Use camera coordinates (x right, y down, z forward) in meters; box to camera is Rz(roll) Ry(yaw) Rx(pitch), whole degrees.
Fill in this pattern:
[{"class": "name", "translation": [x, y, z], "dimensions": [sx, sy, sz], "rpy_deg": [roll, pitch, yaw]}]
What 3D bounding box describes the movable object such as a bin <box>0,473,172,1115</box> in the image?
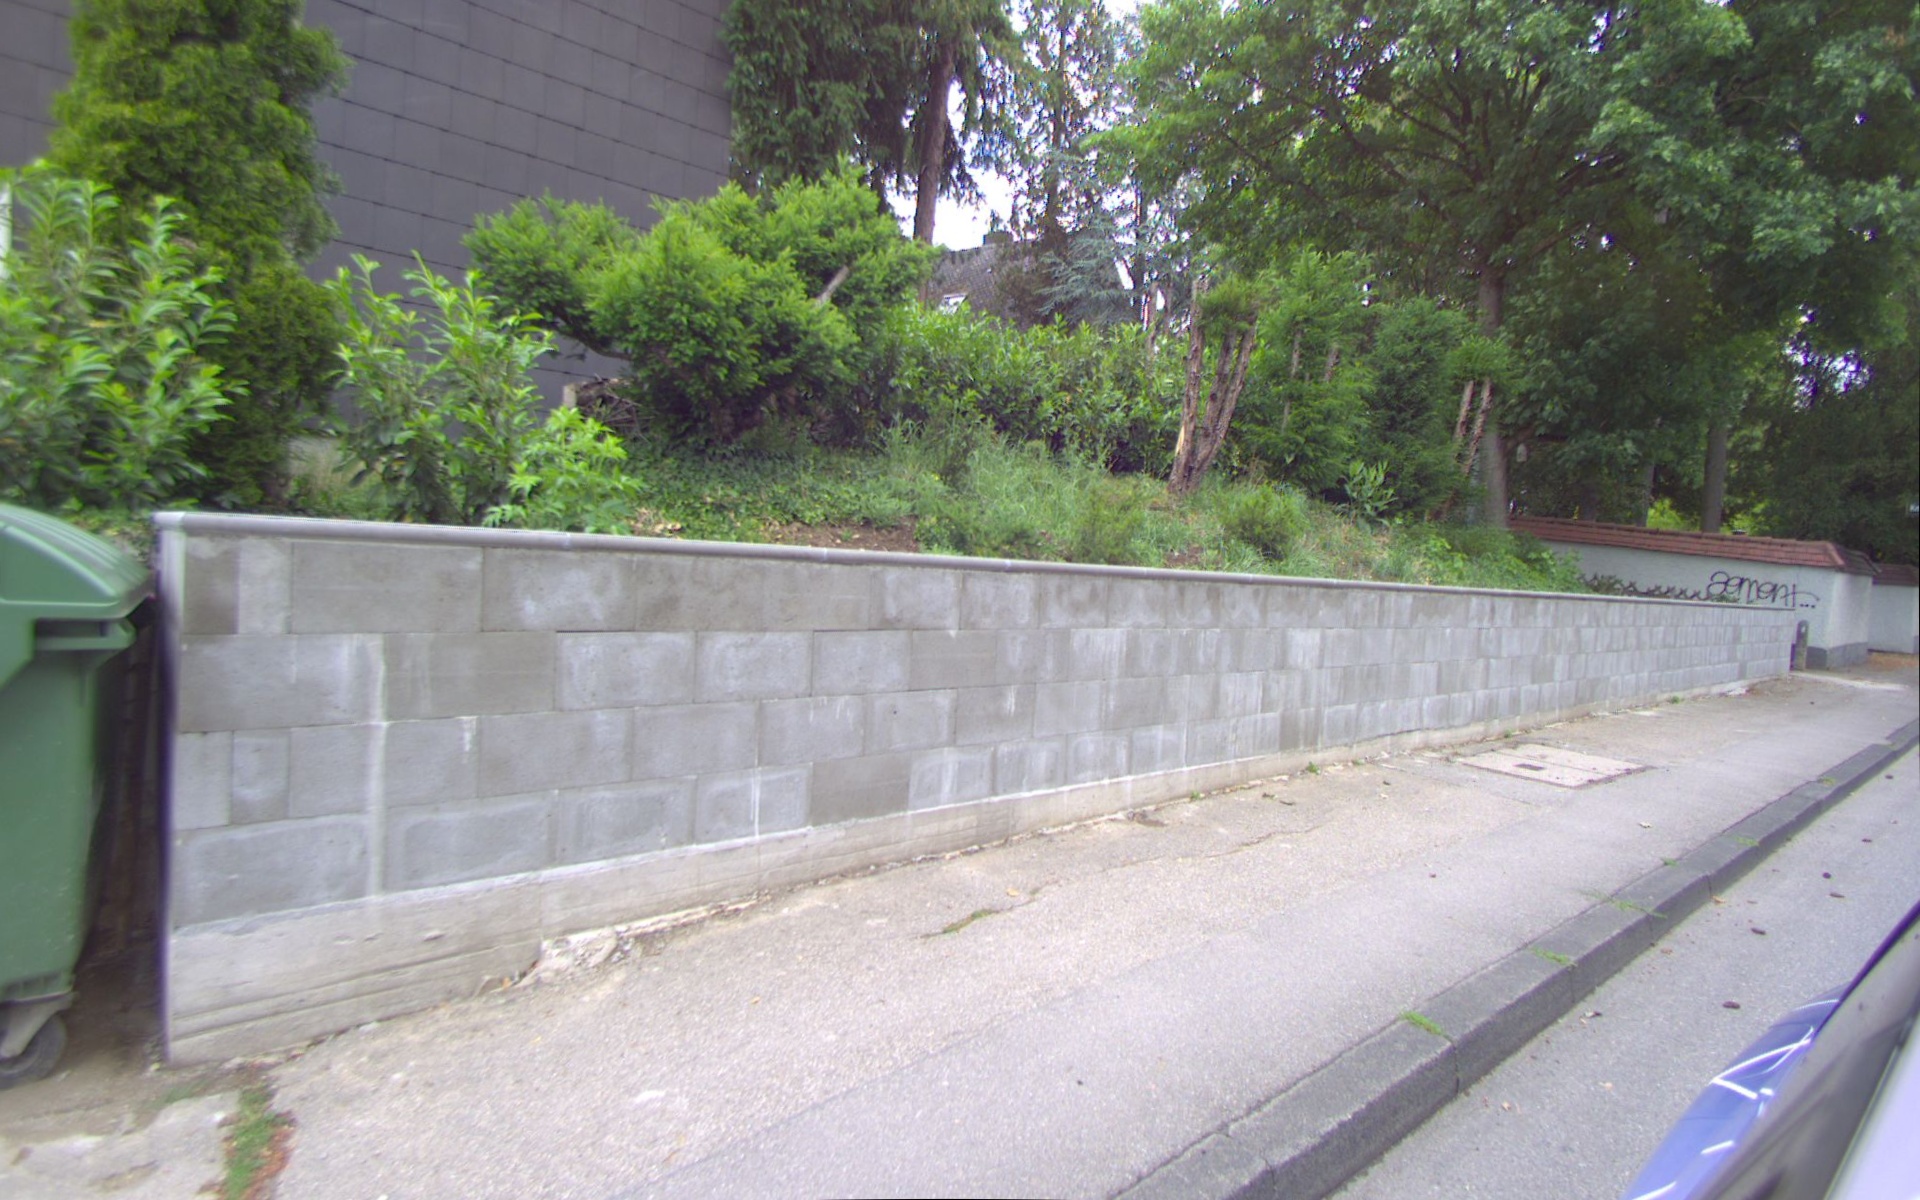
[{"class": "movable object such as a bin", "translation": [-2.799, 0.404, 2.605], "dimensions": [1.160, 1.468, 1.303], "rpy_deg": [0, 4, -40]}]
